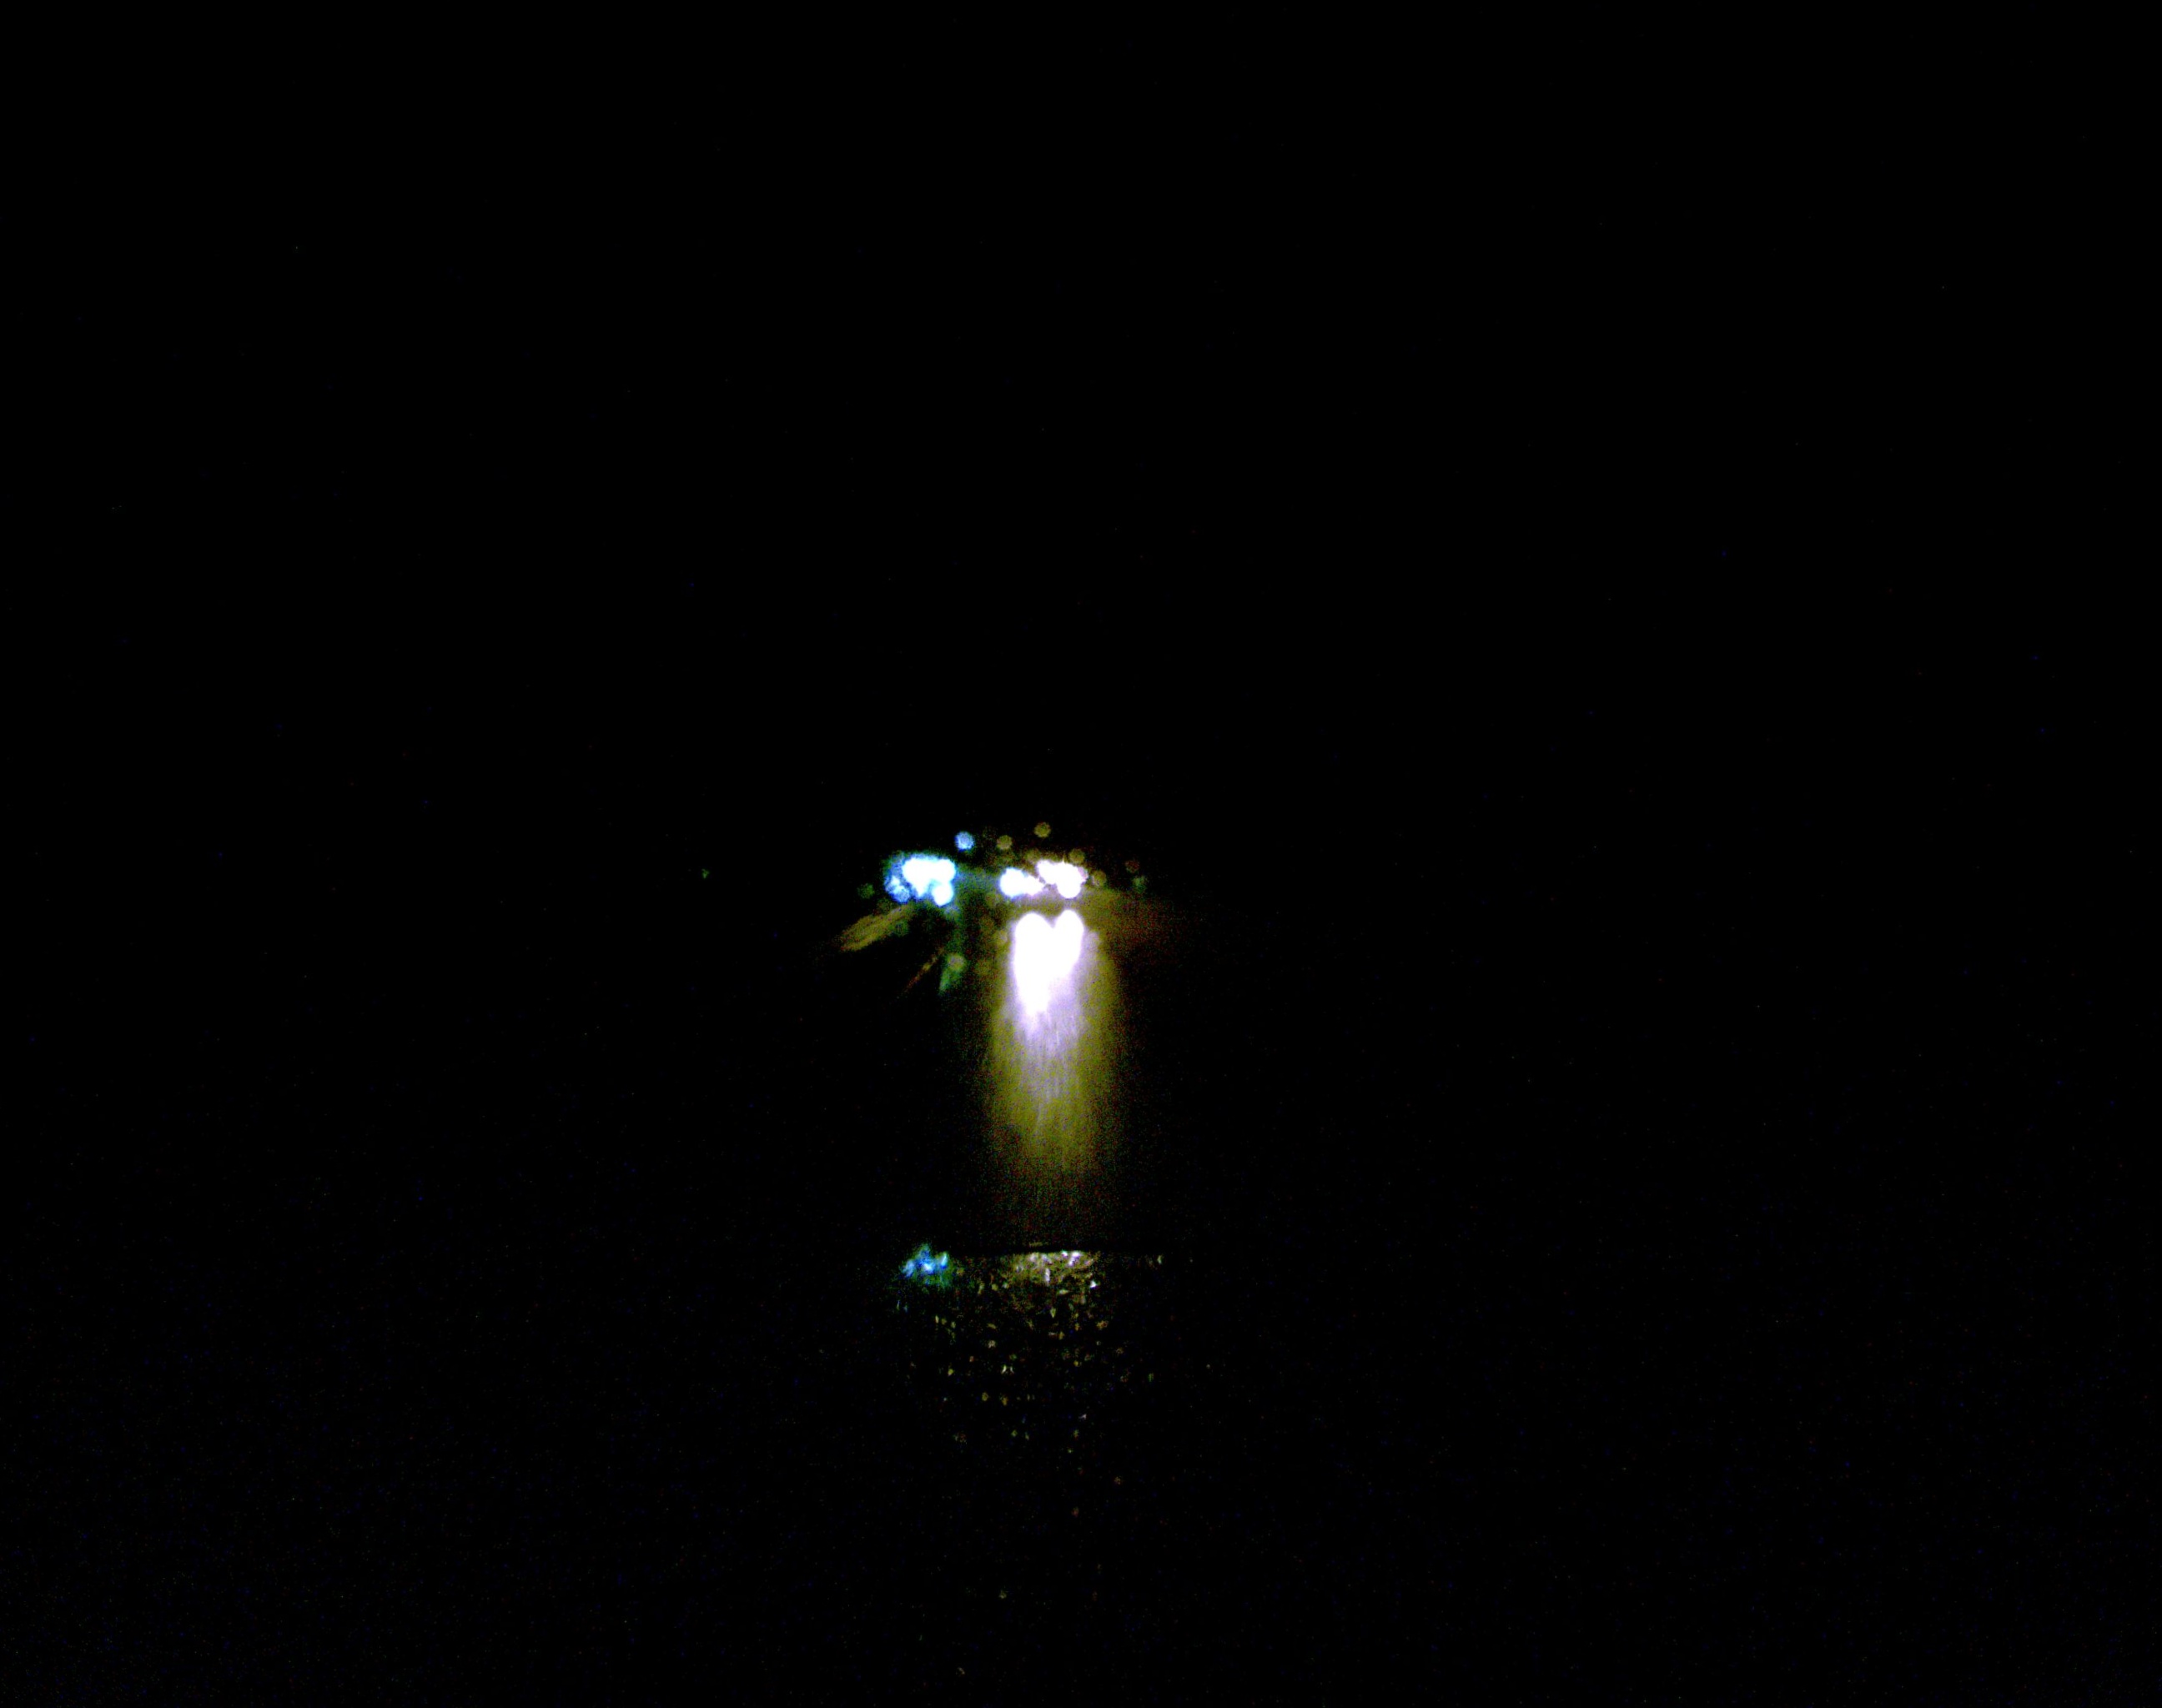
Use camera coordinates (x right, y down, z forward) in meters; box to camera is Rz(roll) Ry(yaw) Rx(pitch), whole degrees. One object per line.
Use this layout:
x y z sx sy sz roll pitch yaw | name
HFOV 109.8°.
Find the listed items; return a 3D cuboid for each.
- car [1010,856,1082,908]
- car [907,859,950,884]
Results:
-1.216 0.822 24.538 1.850 1.441 3.996 -2 1 -9 | car
-9.786 1.083 48.511 1.853 1.441 3.867 -2 1 -25 | car
